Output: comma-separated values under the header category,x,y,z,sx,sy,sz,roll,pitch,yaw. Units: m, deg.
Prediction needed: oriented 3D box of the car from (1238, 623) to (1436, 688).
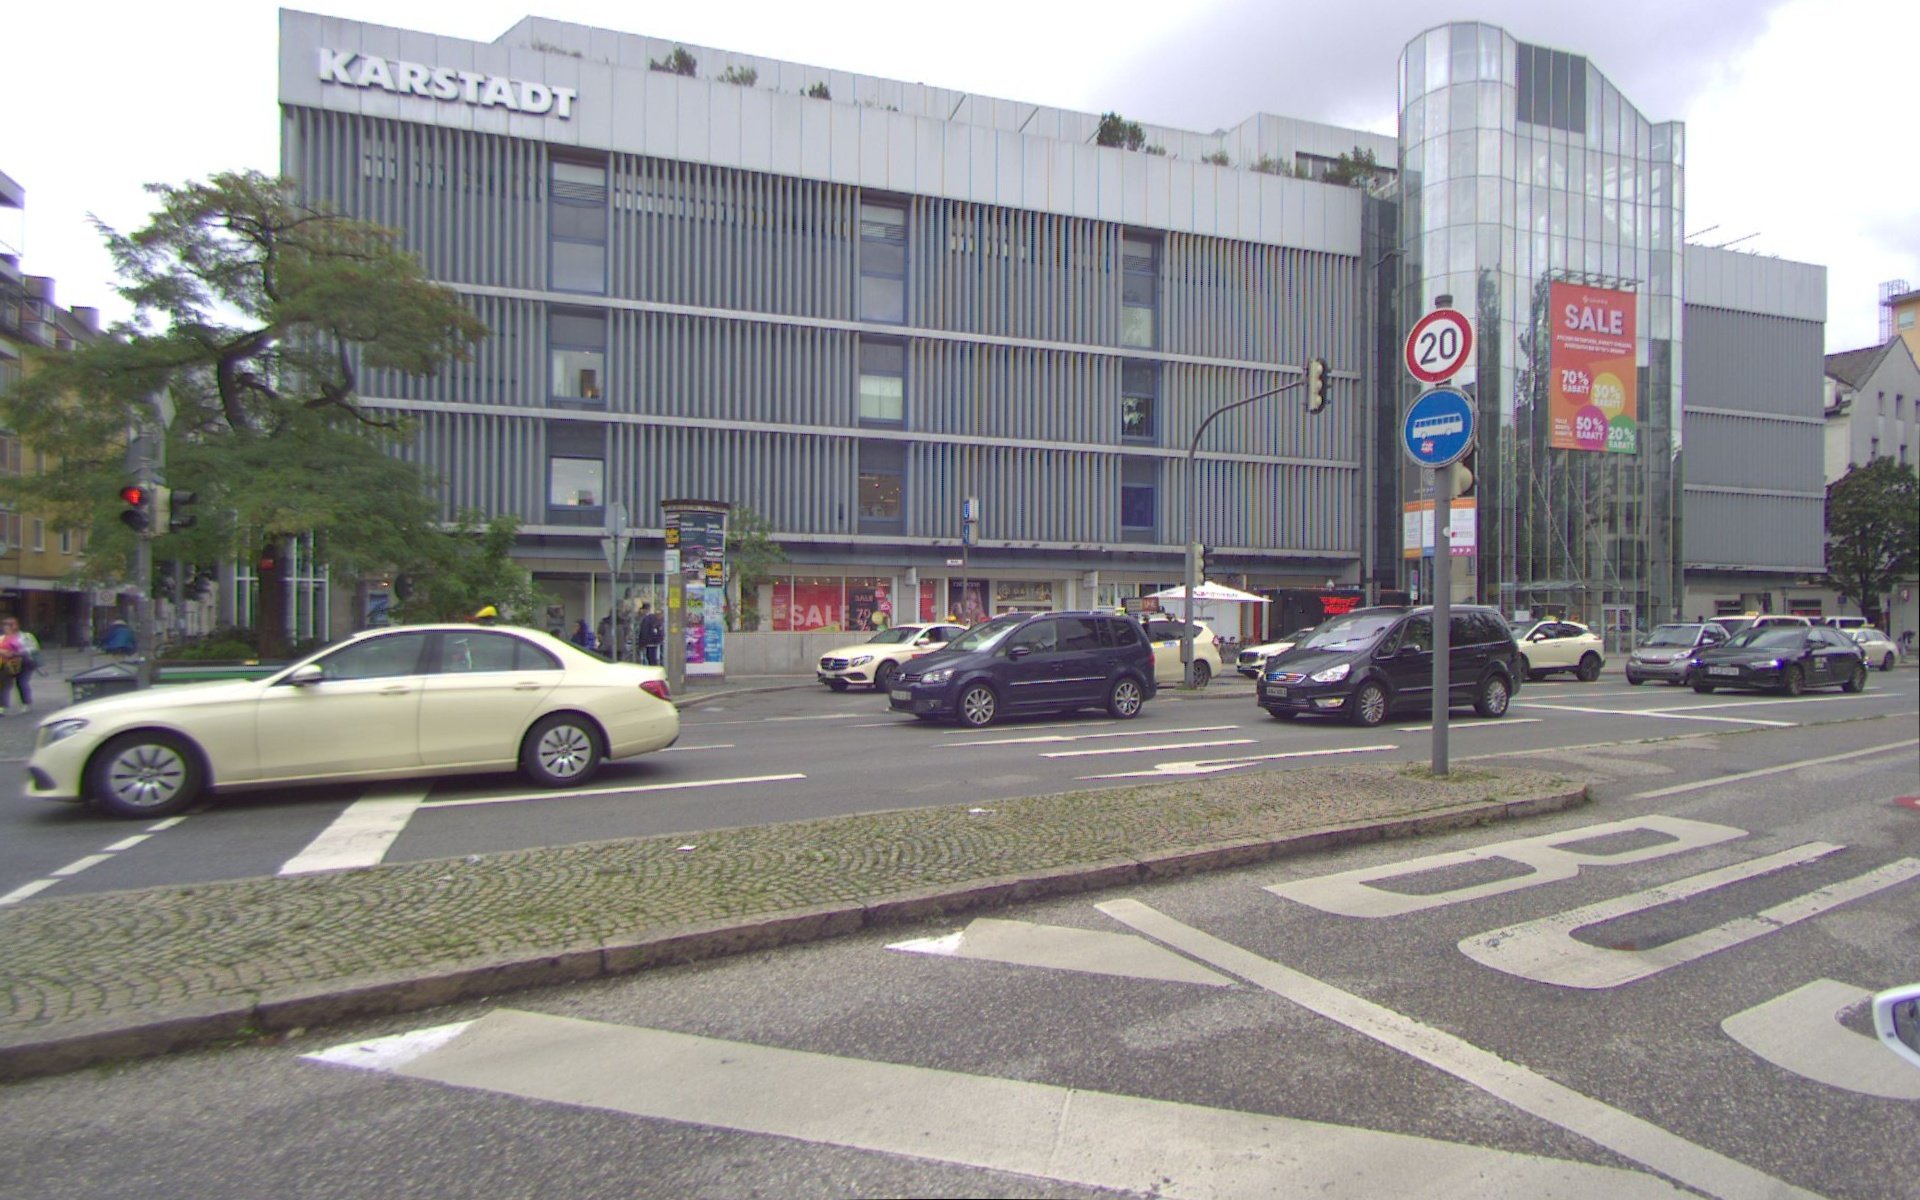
category,x,y,z,sx,sy,sz,roll,pitch,yaw
car,9.516,1.346,25.396,4.566,1.528,1.990,0,-1,-21

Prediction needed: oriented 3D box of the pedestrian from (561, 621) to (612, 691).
category,x,y,z,sx,sy,sz,roll,pitch,yaw
pedestrian,-8.280,1.229,22.274,0.737,1.513,0.772,0,-1,25

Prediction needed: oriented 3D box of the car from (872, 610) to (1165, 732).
category,x,y,z,sx,sy,sz,roll,pitch,yaw
car,0.935,0.994,15.426,4.207,1.635,1.831,1,-1,-30

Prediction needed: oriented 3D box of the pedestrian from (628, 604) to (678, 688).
category,x,y,z,sx,sy,sz,roll,pitch,yaw
pedestrian,-6.684,0.986,21.884,0.739,1.797,0.770,0,-1,36

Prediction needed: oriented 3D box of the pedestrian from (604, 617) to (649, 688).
category,x,y,z,sx,sy,sz,roll,pitch,yaw
pedestrian,-7.570,1.171,22.797,0.746,1.575,0.763,1,-1,-41

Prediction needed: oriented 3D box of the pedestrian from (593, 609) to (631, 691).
category,x,y,z,sx,sy,sz,roll,pitch,yaw
pedestrian,-7.227,1.025,20.873,0.740,1.676,0.769,0,-1,-19

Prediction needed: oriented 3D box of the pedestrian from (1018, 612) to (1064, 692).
category,x,y,z,sx,sy,sz,roll,pitch,yaw
pedestrian,1.780,1.124,22.059,0.741,1.713,0.768,0,-1,-25

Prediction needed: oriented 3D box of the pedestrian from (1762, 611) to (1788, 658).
category,x,y,z,sx,sy,sz,roll,pitch,yaw
pedestrian,31.962,1.344,39.406,0.618,1.842,0.557,0,-1,-19

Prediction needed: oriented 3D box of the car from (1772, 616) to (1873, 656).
category,x,y,z,sx,sy,sz,roll,pitch,yaw
car,40.355,1.659,47.017,4.179,1.795,1.866,0,-1,-22

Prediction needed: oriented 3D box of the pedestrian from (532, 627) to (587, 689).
category,x,y,z,sx,sy,sz,roll,pitch,yaw
pedestrian,-8.652,1.233,21.707,1.032,1.292,0.542,1,-1,-30

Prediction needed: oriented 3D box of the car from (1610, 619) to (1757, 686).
category,x,y,z,sx,sy,sz,roll,pitch,yaw
car,18.076,1.266,25.104,3.339,1.572,1.619,0,-1,-26

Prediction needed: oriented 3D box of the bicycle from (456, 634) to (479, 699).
category,x,y,z,sx,sy,sz,roll,pitch,yaw
bicycle,-9.241,1.224,18.863,0.368,1.126,1.568,1,-1,-26

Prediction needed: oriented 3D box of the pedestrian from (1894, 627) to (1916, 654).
category,x,y,z,sx,sy,sz,roll,pitch,yaw
pedestrian,45.692,1.954,48.574,0.618,1.307,0.557,0,-1,-19

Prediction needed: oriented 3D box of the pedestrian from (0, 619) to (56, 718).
category,x,y,z,sx,sy,sz,roll,pitch,yaw
pedestrian,-15.435,1.114,16.524,0.712,1.595,0.635,1,-1,-31

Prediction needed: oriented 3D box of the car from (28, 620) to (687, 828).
category,x,y,z,sx,sy,sz,roll,pitch,yaw
car,-4.945,0.918,8.934,4.584,1.440,1.757,1,-2,-30

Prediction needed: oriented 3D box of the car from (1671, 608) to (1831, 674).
category,x,y,z,sx,sy,sz,roll,pitch,yaw
car,26.001,1.292,32.980,5.450,2.040,1.987,1,-1,-27

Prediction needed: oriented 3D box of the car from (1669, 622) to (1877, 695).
category,x,y,z,sx,sy,sz,roll,pitch,yaw
car,17.456,1.185,21.529,4.542,1.401,1.838,1,-1,-28

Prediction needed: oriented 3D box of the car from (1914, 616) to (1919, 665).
category,x,y,z,sx,sy,sz,roll,pitch,yaw
car,38.629,1.474,37.723,4.457,1.840,1.994,0,-2,-15

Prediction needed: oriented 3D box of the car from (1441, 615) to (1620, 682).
category,x,y,z,sx,sy,sz,roll,pitch,yaw
car,15.447,1.285,27.265,4.117,1.701,1.992,1,-1,-18

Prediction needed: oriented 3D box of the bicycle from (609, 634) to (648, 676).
category,x,y,z,sx,sy,sz,roll,pitch,yaw
bicycle,-9.634,1.565,29.295,0.791,1.114,3.673,0,-1,-14

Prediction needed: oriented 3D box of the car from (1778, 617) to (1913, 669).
category,x,y,z,sx,sy,sz,roll,pitch,yaw
car,31.057,1.478,35.233,4.473,1.677,1.986,1,1,-26

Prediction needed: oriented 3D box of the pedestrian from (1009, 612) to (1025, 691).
category,x,y,z,sx,sy,sz,roll,pitch,yaw
pedestrian,1.290,1.156,22.751,0.348,1.783,0.447,0,-1,5

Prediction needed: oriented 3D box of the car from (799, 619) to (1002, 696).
category,x,y,z,sx,sy,sz,roll,pitch,yaw
car,-1.250,1.203,22.586,4.386,1.556,1.974,1,-1,-45

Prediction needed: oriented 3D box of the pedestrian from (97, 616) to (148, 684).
category,x,y,z,sx,sy,sz,roll,pitch,yaw
pedestrian,-21.307,1.254,25.565,0.777,1.710,0.858,0,-1,40

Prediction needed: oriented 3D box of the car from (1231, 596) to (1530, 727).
category,x,y,z,sx,sy,sz,roll,pitch,yaw
car,6.535,0.869,15.505,4.533,1.762,1.928,1,-1,-30

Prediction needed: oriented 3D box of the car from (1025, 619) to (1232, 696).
category,x,y,z,sx,sy,sz,roll,pitch,yaw
car,3.765,1.203,22.275,4.340,1.563,1.892,1,-1,-30
